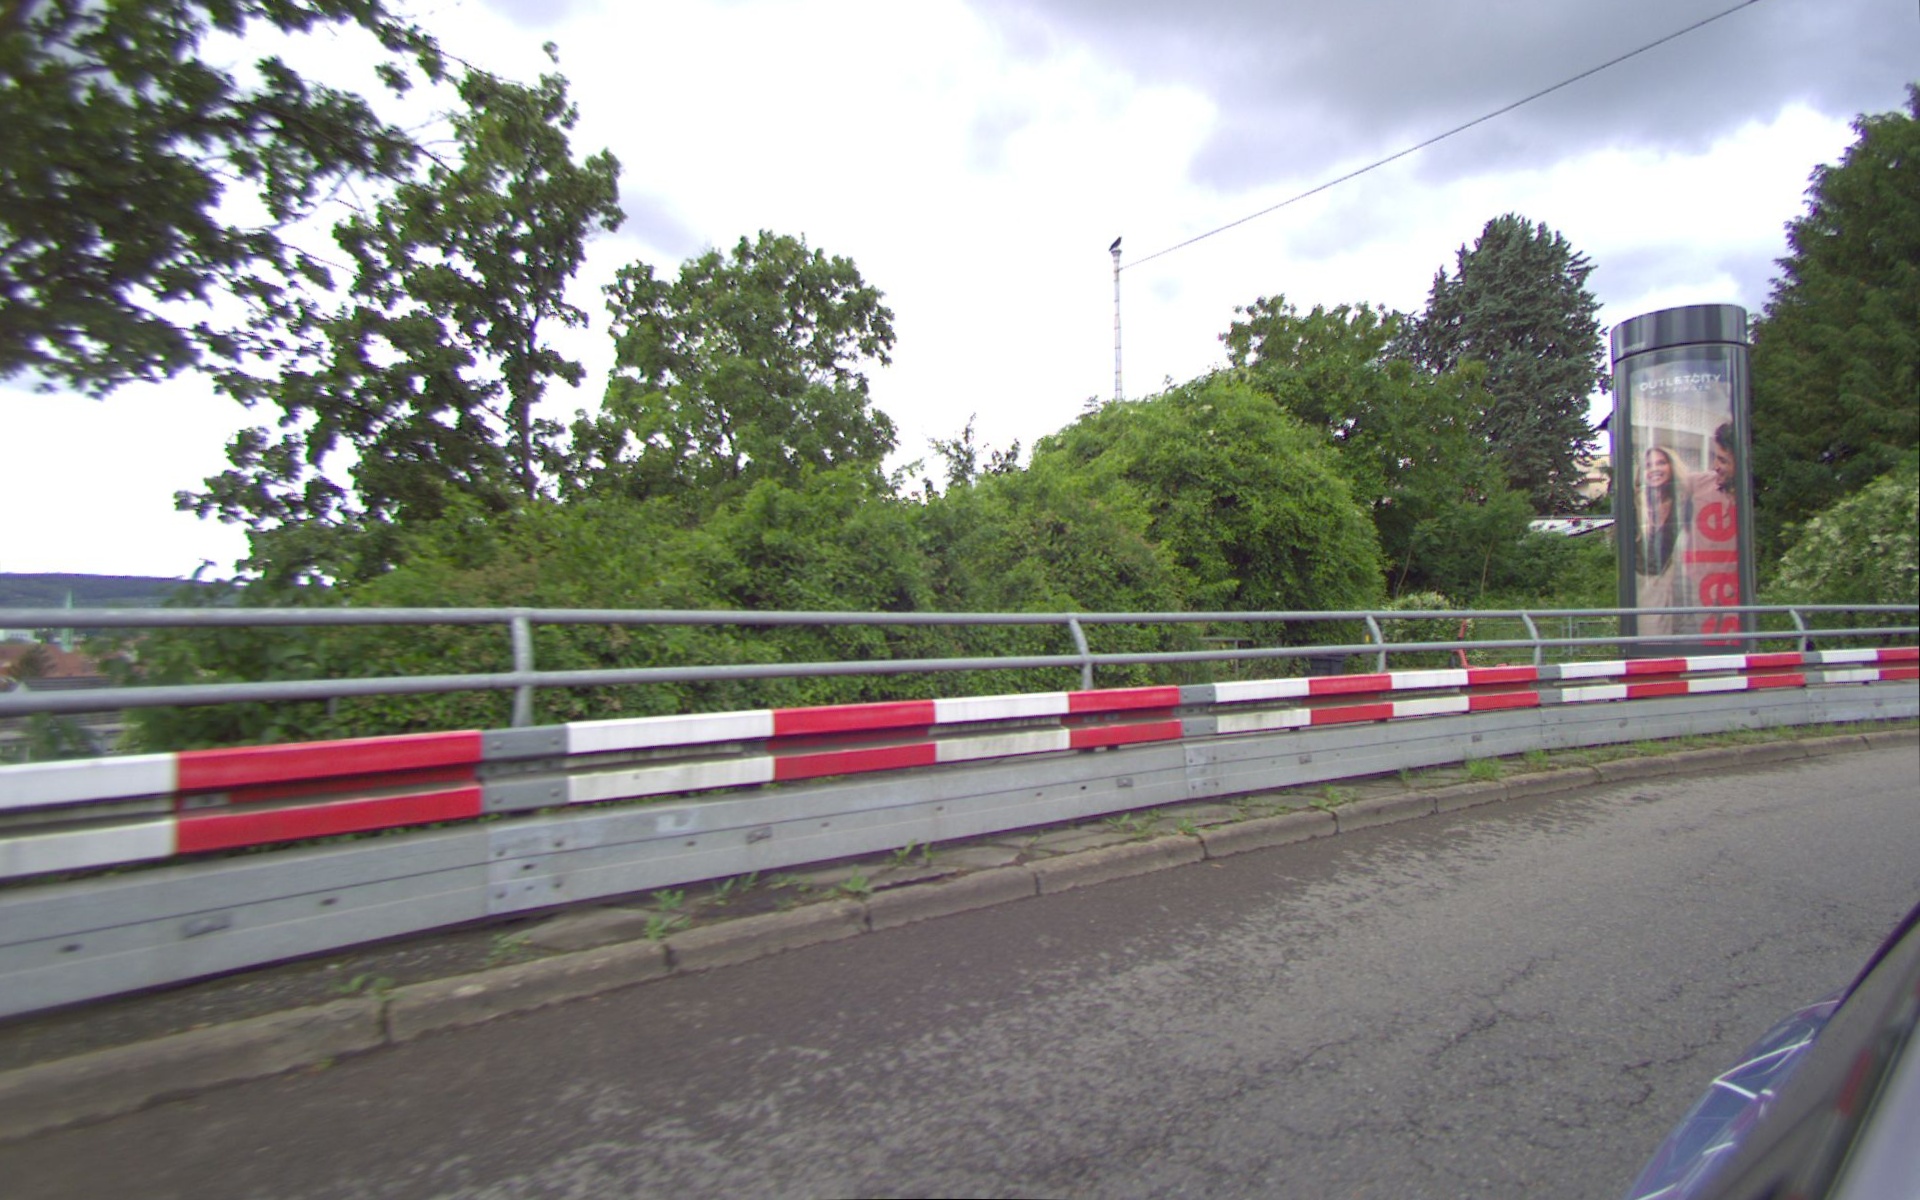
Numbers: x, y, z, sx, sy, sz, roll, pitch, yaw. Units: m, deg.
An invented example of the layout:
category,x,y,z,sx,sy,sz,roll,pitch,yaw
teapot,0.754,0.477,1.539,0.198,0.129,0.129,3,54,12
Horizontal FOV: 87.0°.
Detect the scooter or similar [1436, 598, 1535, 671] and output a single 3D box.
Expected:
category,x,y,z,sx,sy,sz,roll,pitch,yaw
scooter or similar,9.396,0.621,18.134,0.429,1.266,1.497,1,-3,-43
